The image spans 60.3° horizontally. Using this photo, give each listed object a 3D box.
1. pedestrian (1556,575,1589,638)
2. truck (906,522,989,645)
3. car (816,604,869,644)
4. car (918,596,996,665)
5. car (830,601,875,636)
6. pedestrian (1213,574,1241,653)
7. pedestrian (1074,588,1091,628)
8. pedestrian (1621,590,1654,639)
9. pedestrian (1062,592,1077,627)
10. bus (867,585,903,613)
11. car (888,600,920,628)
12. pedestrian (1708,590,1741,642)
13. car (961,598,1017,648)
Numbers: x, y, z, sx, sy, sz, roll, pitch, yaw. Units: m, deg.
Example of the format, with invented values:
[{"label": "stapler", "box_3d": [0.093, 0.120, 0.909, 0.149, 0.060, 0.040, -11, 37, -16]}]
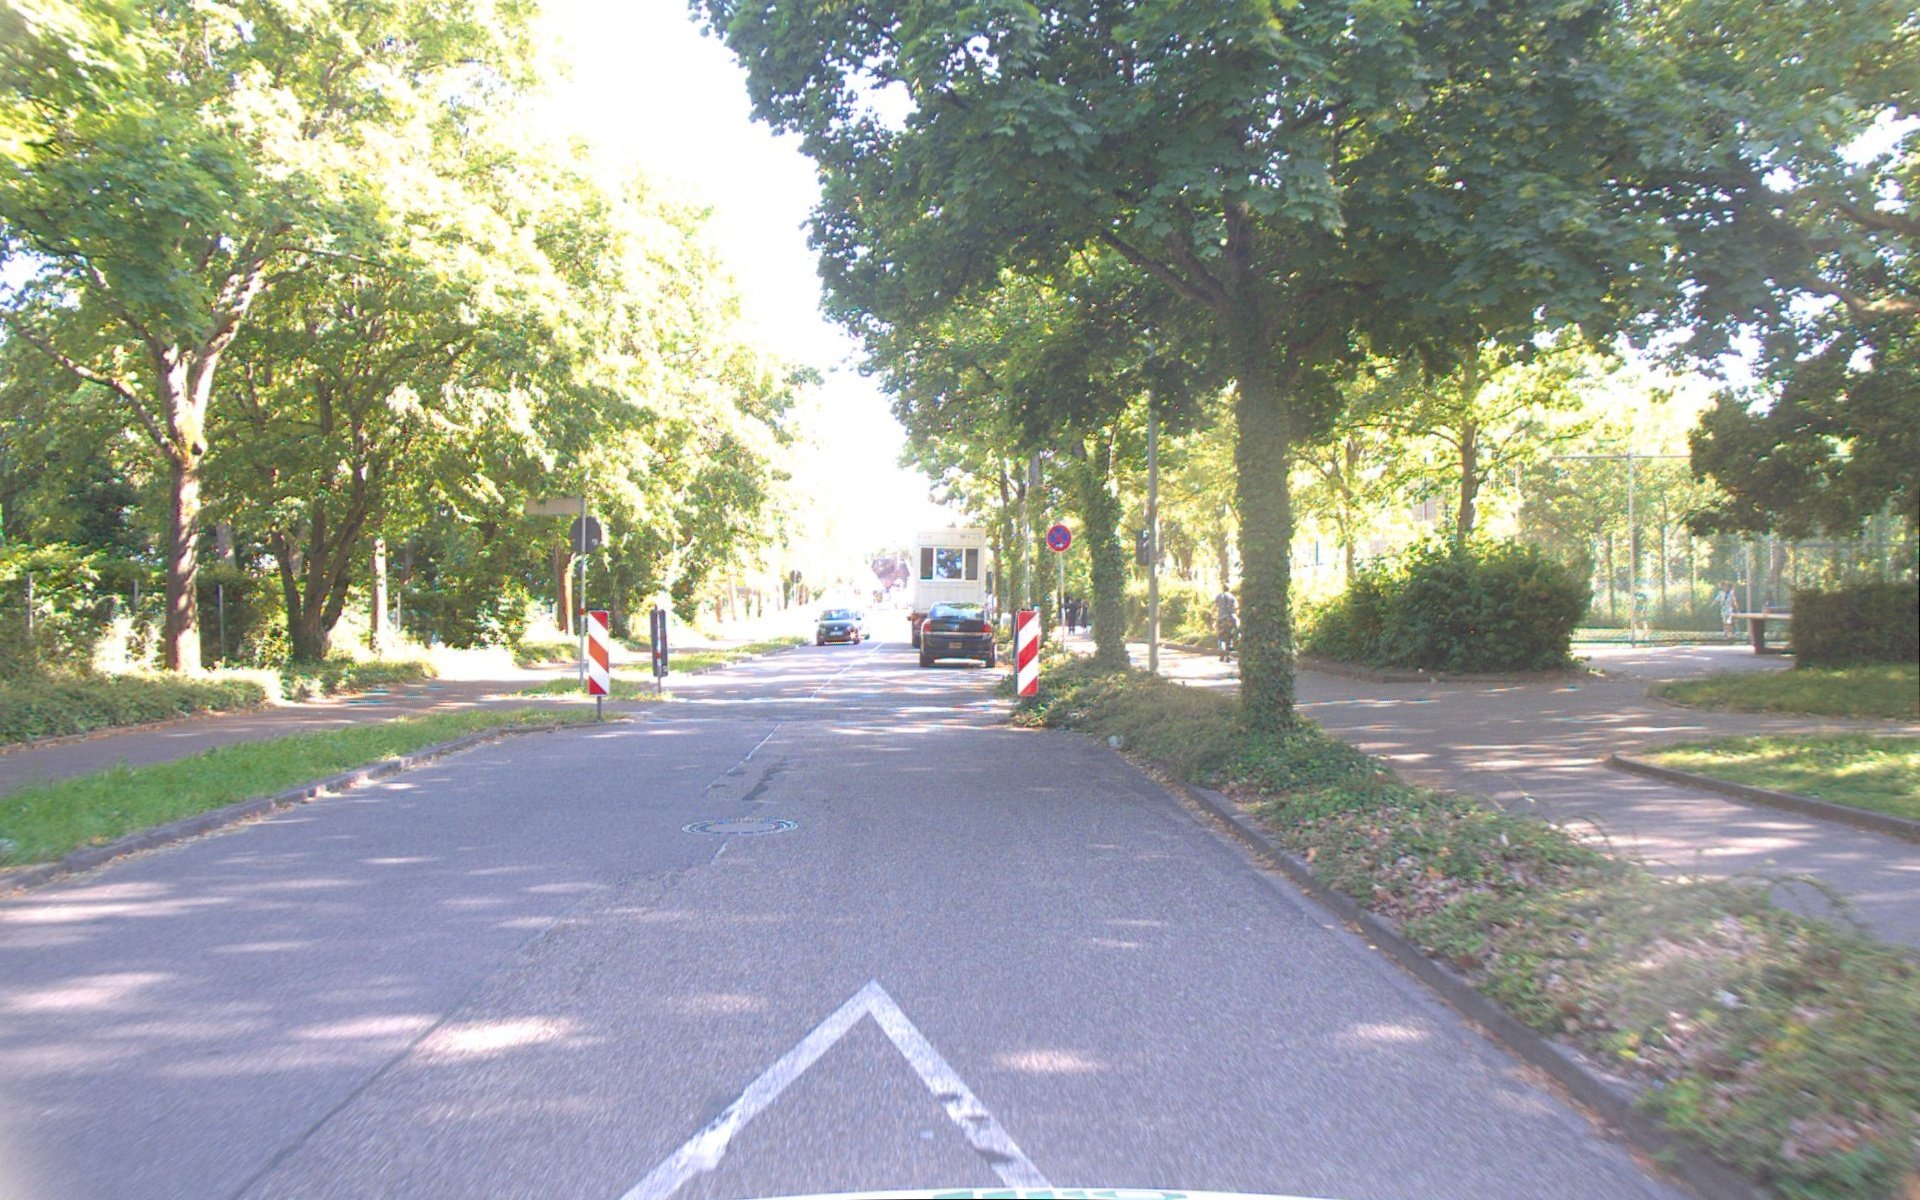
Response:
[{"label": "pedestrian", "box_3d": [16.069, 0.174, 43.374, 0.685, 1.639, 0.699, 1, -1, 29]}, {"label": "truck", "box_3d": [-0.557, -0.553, 60.505, 2.717, 4.066, 10.344, 1, 0, -2]}, {"label": "car", "box_3d": [-4.622, 0.923, 65.463, 1.567, 1.451, 3.653, -2, 0, 4]}, {"label": "car", "box_3d": [-0.040, 0.704, 38.386, 1.712, 1.506, 4.030, 0, -1, 1]}, {"label": "car", "box_3d": [-4.909, 0.820, 75.783, 1.719, 1.479, 4.243, -2, 0, 0]}, {"label": "pedestrian", "box_3d": [5.601, 0.280, 34.687, 0.559, 1.636, 0.672, 0, 0, 8]}, {"label": "pedestrian", "box_3d": [5.878, 0.379, 79.198, 0.684, 1.844, 0.699, -2, 0, -4]}, {"label": "pedestrian", "box_3d": [16.807, 0.351, 41.011, 0.486, 1.192, 0.560, 2, -1, -25]}, {"label": "pedestrian", "box_3d": [5.286, 0.458, 79.811, 0.586, 1.639, 0.599, -2, 0, -4]}, {"label": "bus", "box_3d": [-9.759, -0.175, 215.320, 3.981, 3.407, 9.801, -2, 0, 1]}, {"label": "car", "box_3d": [-4.139, 1.028, 122.612, 1.951, 2.049, 4.002, -1, 0, 5]}, {"label": "pedestrian", "box_3d": [17.804, 0.362, 38.525, 0.555, 1.192, 0.491, 1, -1, 44]}, {"label": "car", "box_3d": [0.884, 0.680, 50.883, 1.606, 1.445, 4.000, -2, 0, 1]}]
